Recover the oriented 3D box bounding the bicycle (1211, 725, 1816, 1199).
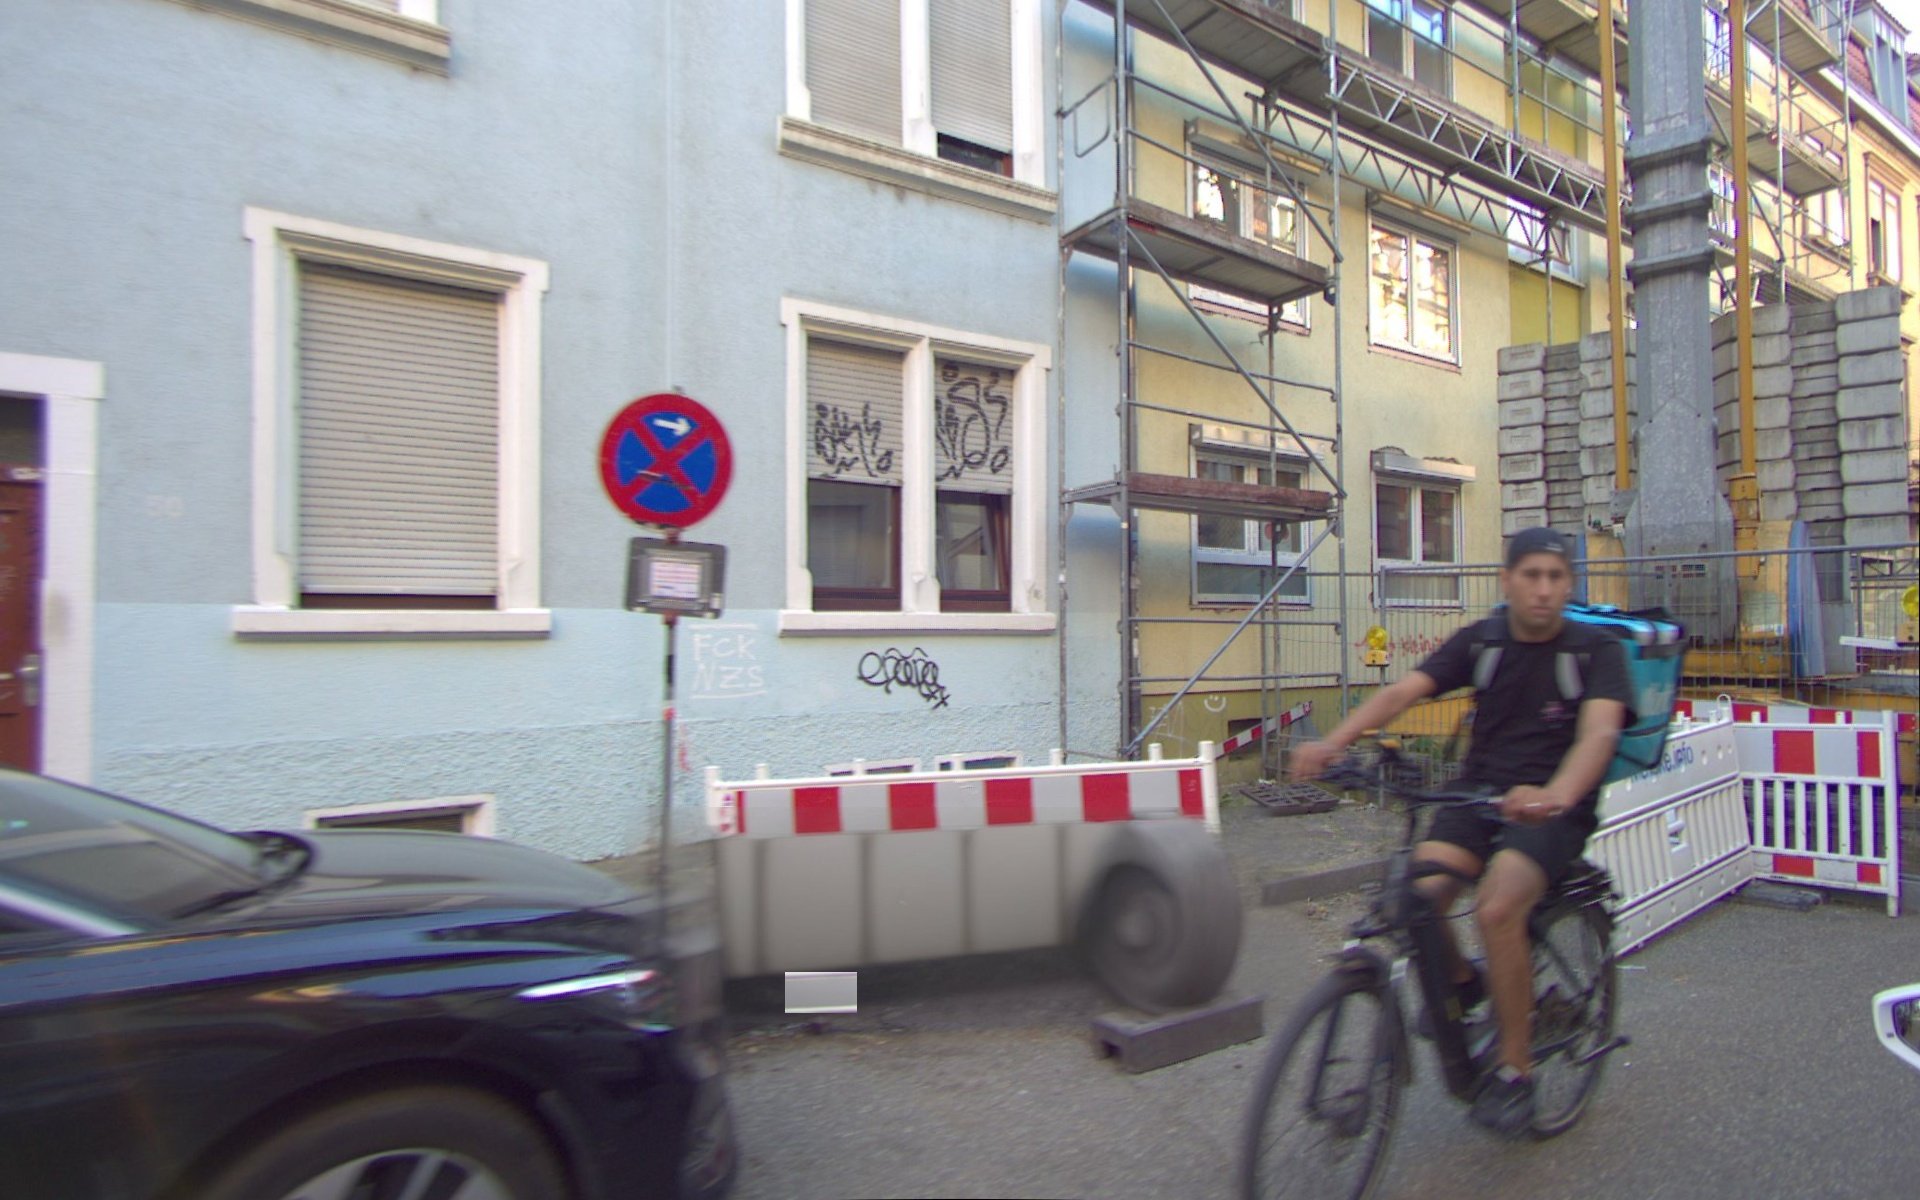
[{"bbox_3d":[1.586,0.989,2.762,1.828,1.172,0.682,1,-5,-35],"label":"bicycle"}]

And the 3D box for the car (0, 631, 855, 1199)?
[{"bbox_3d":[-2.651,0.853,1.734,4.645,1.528,1.757,1,-4,-33],"label":"car"}]

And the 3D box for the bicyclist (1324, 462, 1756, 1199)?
[{"bbox_3d":[1.604,0.560,2.804,0.884,1.699,0.661,1,-4,-35],"label":"bicyclist"}]
